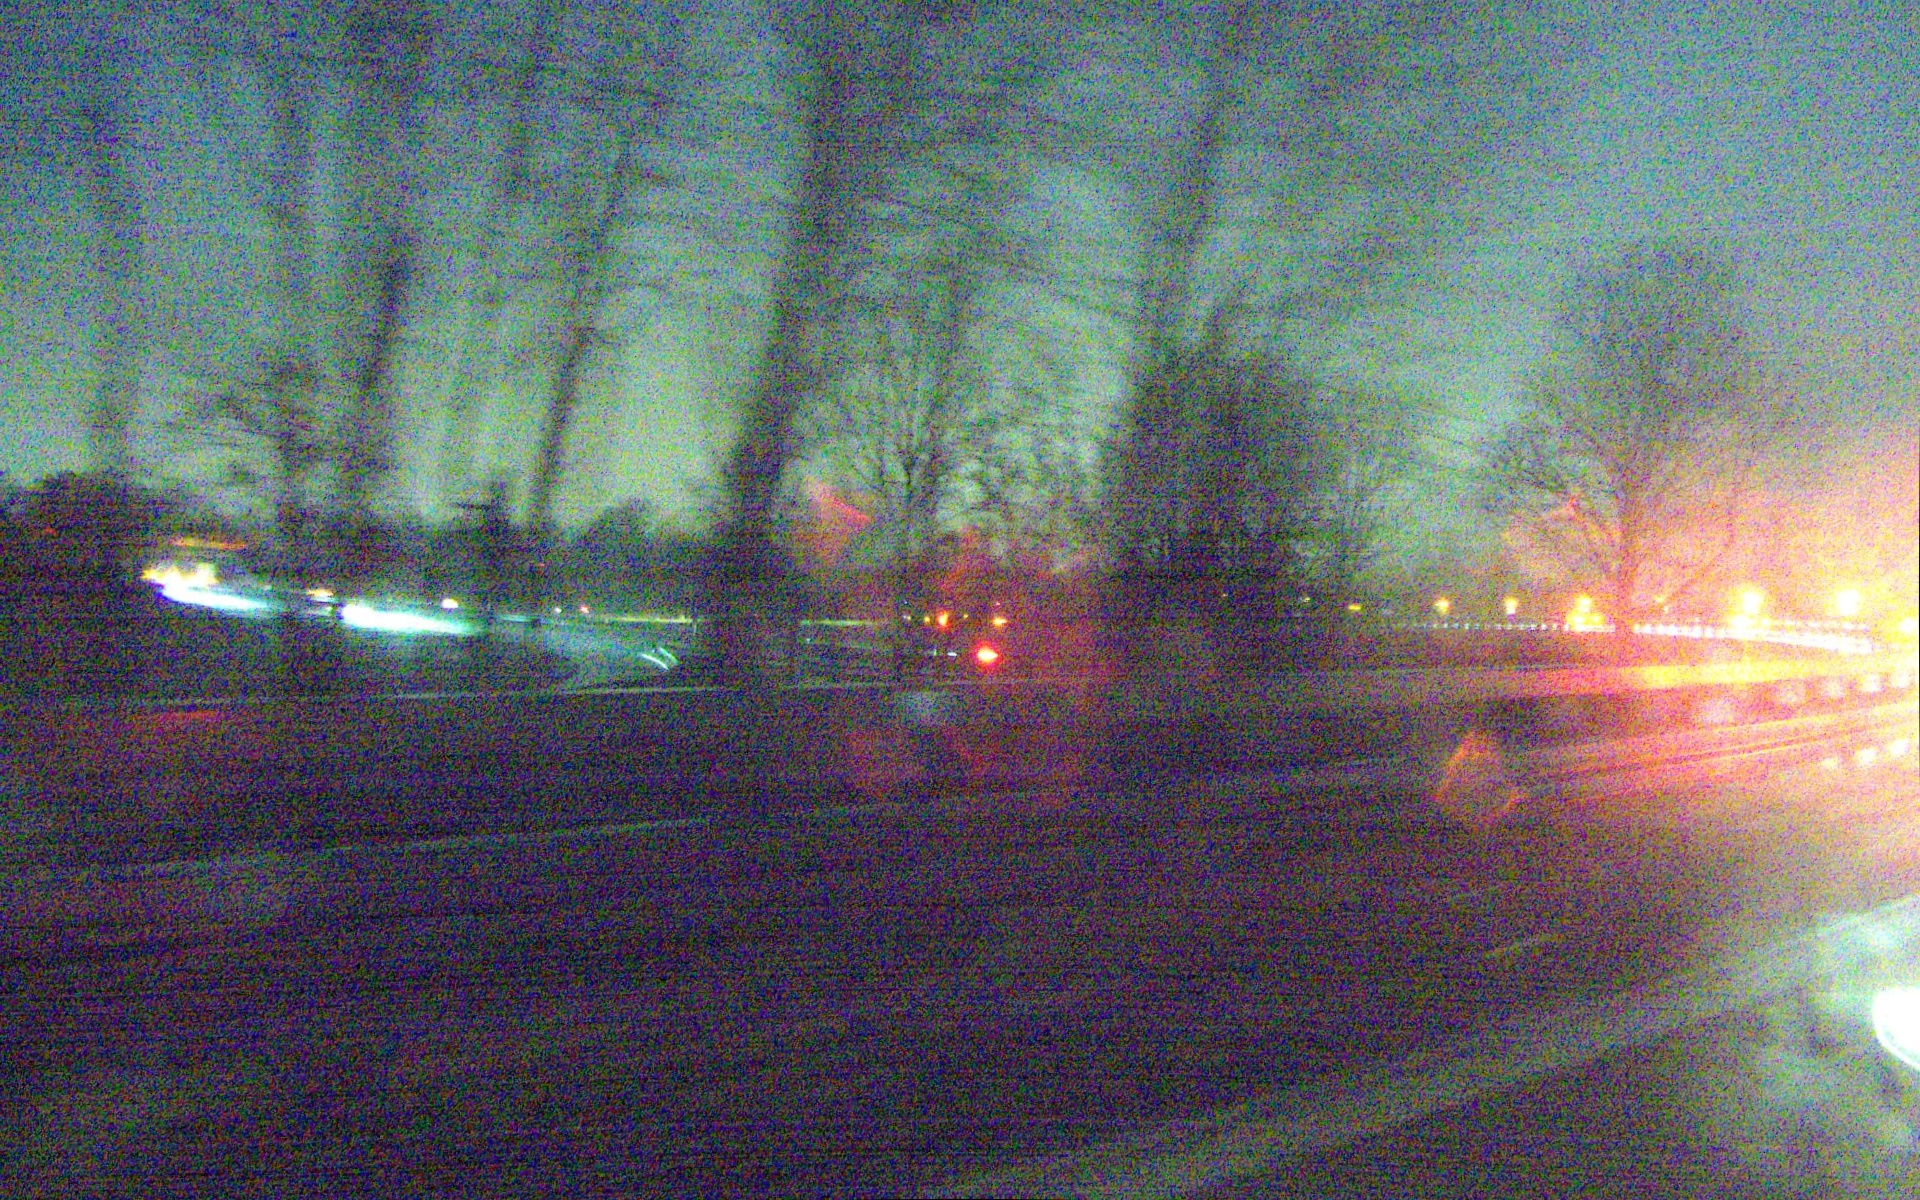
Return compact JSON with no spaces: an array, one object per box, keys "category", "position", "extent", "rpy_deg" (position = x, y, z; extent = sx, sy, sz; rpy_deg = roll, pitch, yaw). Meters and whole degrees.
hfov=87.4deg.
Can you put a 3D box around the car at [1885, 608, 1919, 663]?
[{"category":"car","position":[37.849,1.364,39.174],"extent":[1.869,2.067,4.035],"rpy_deg":[0,0,32]}]

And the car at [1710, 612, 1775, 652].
[{"category":"car","position":[41.514,1.689,53.377],"extent":[1.866,2.024,4.042],"rpy_deg":[-1,-1,26]}]

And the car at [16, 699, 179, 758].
[{"category":"car","position":[-26.142,3.854,30.555],"extent":[1.476,1.446,3.431],"rpy_deg":[0,-2,21]}]

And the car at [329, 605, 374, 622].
[{"category":"car","position":[-68.220,1.494,112.628],"extent":[4.160,1.775,1.924],"rpy_deg":[1,-1,17]}]
